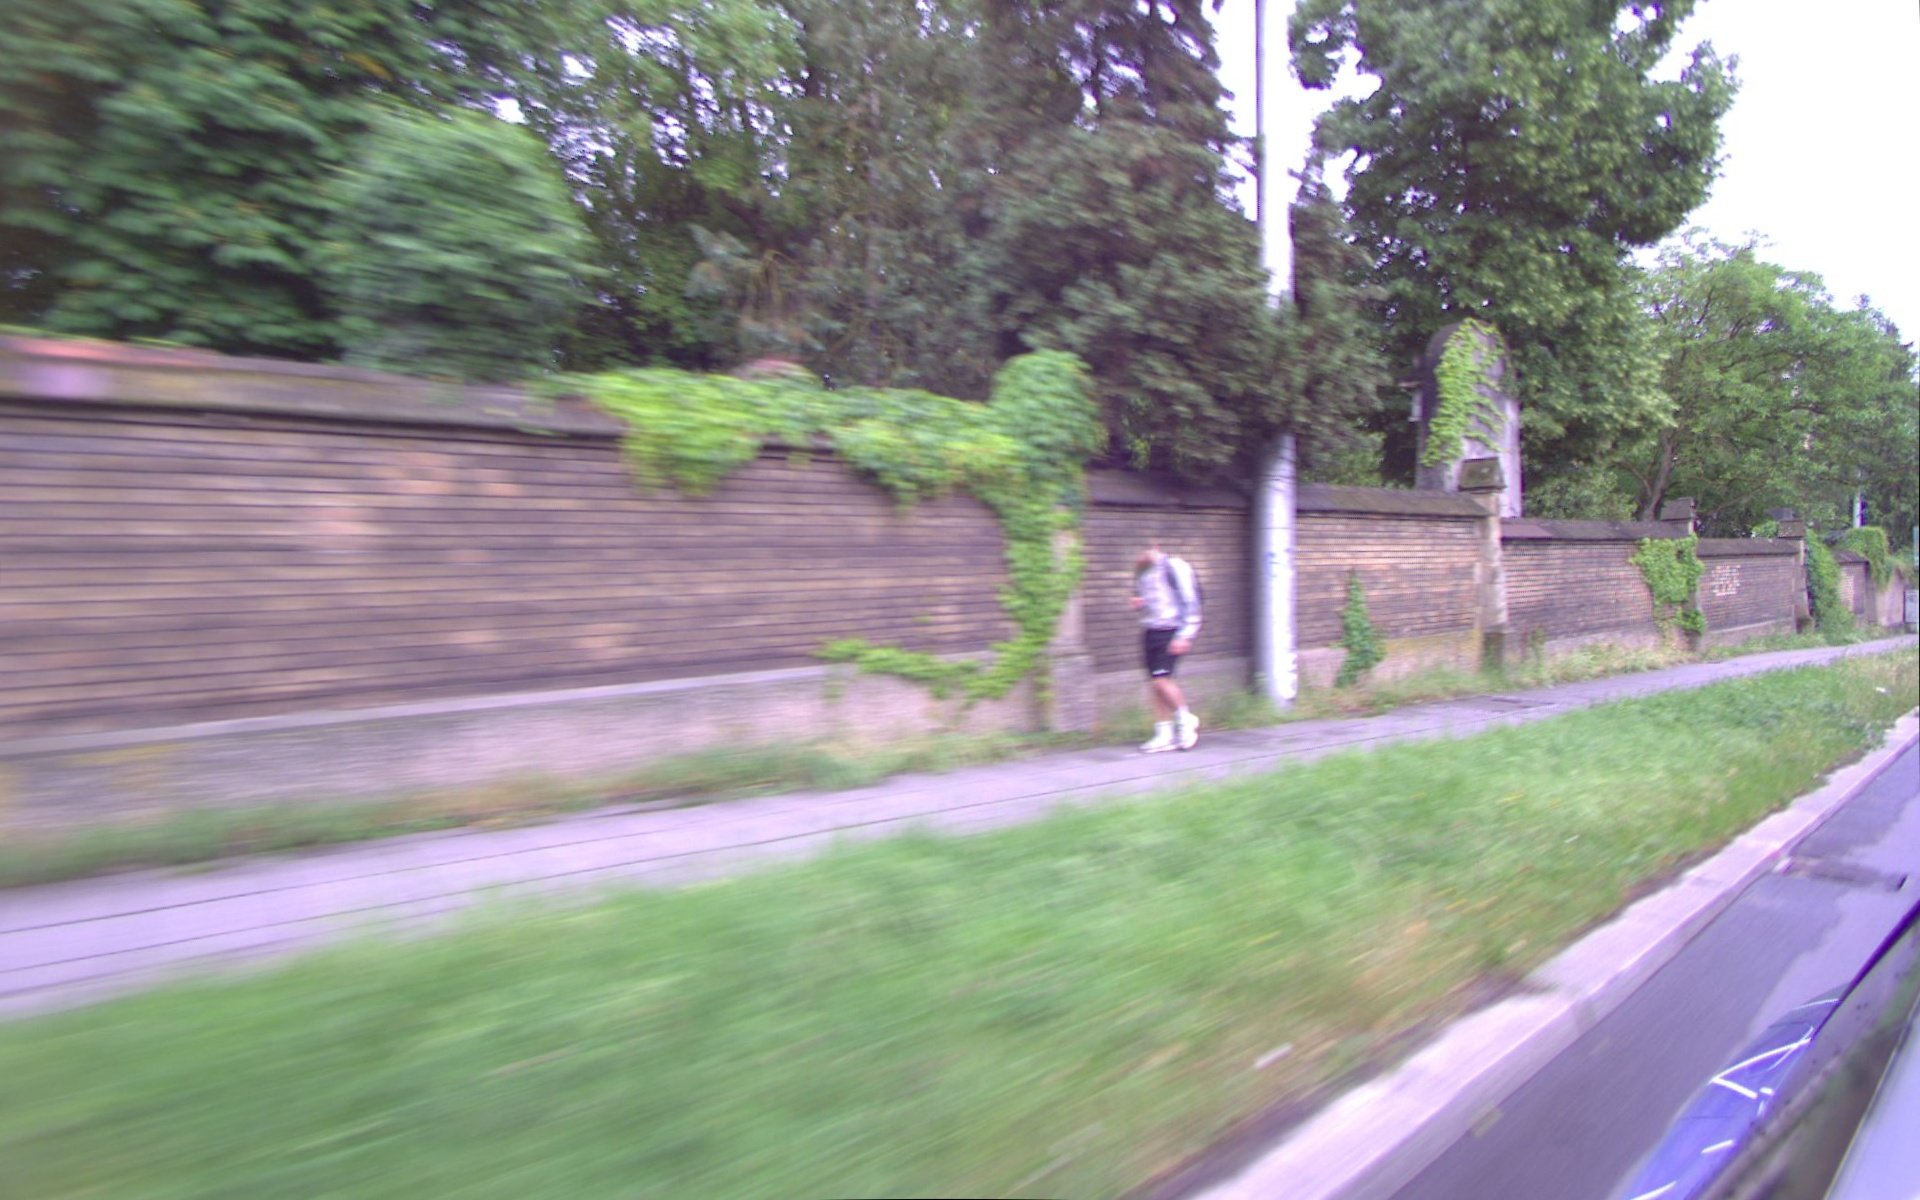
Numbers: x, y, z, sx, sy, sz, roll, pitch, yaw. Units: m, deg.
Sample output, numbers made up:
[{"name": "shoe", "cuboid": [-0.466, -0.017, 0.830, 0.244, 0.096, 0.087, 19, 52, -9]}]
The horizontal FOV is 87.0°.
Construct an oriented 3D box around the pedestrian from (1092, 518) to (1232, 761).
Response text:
[{"name": "pedestrian", "cuboid": [1.611, 0.285, 8.079, 0.885, 1.802, 0.709, 0, 0, -41]}]
